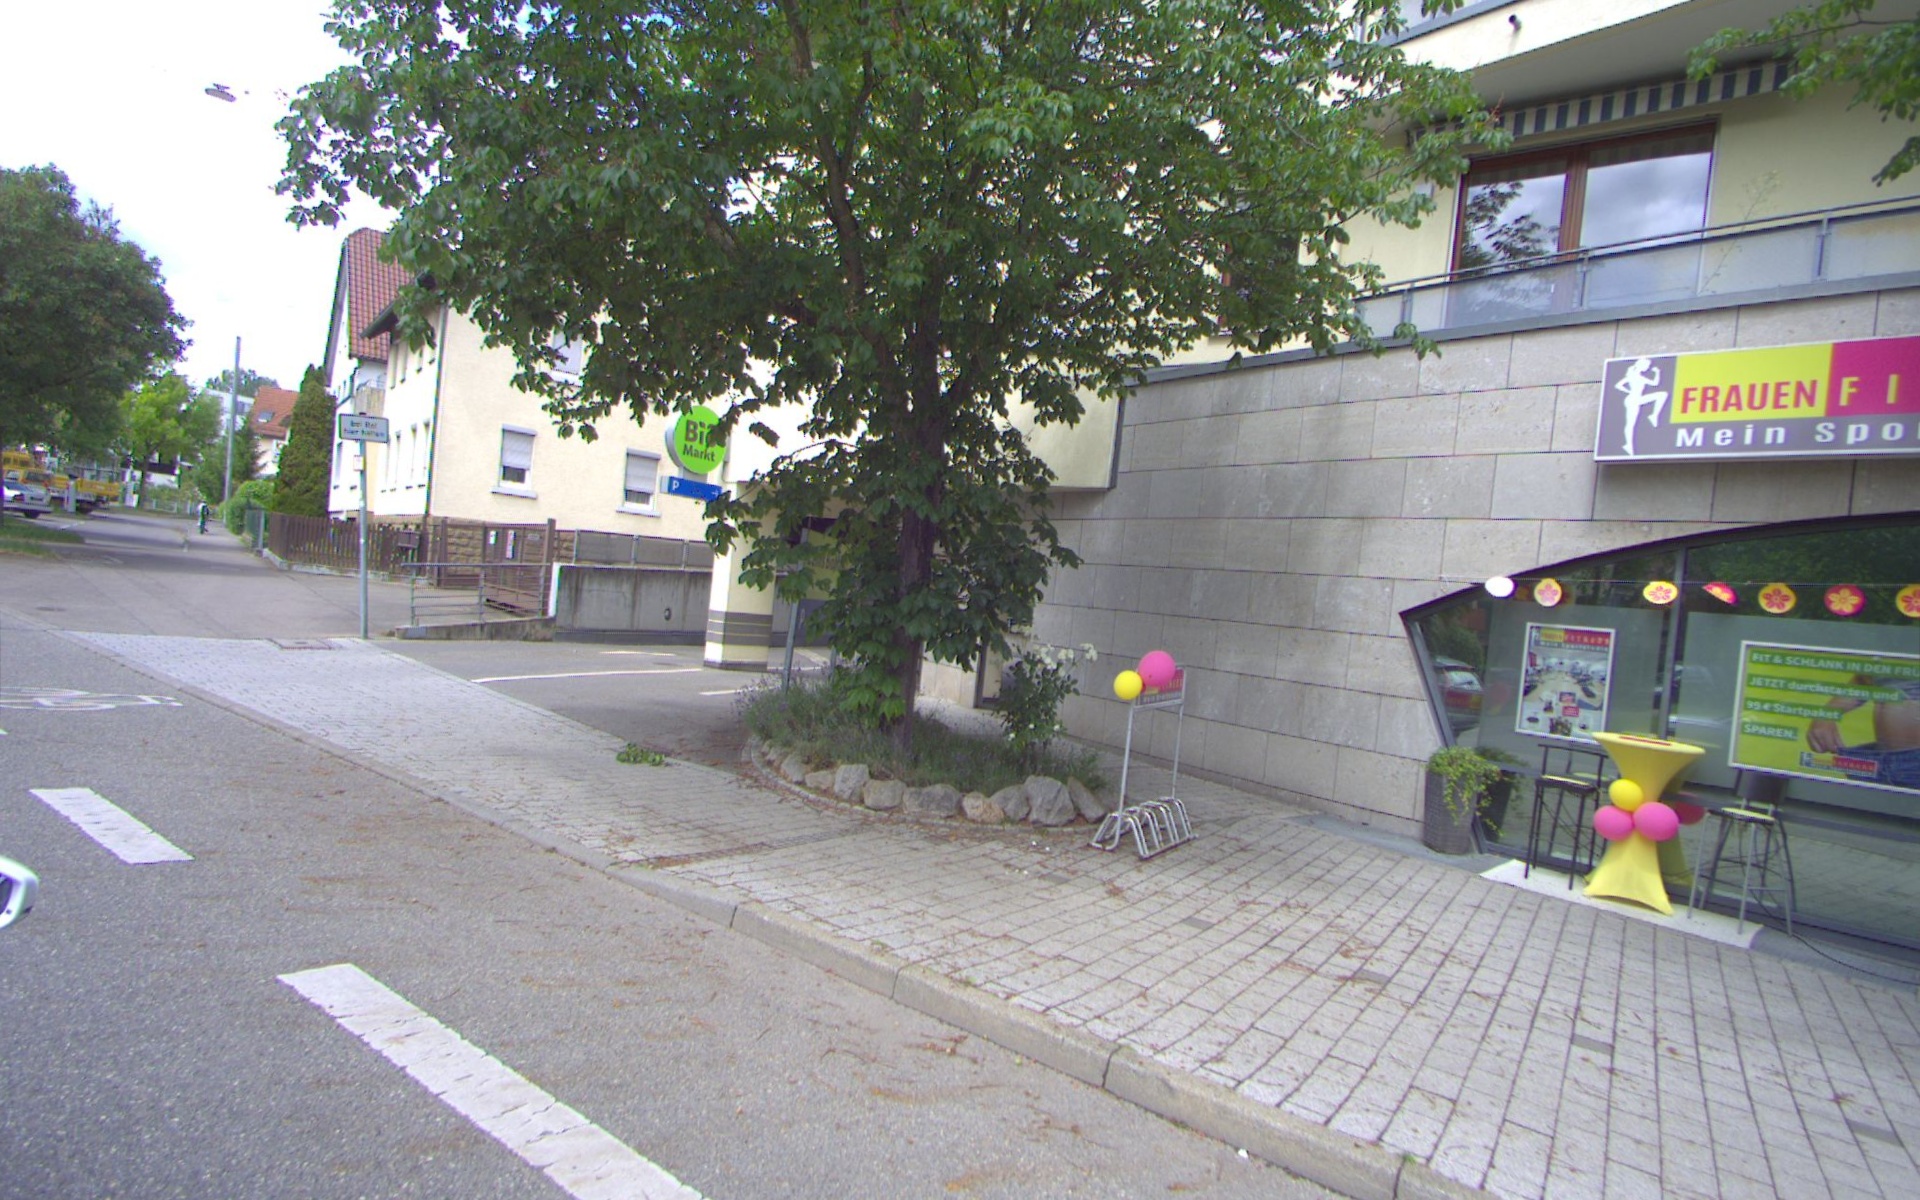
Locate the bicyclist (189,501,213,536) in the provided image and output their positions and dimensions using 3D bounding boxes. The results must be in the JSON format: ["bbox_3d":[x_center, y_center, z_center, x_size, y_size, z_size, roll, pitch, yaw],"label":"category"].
[{"bbox_3d":[-36.996,-3.981,49.030,0.557,1.577,0.590,6,-1,31],"label":"bicyclist"}]

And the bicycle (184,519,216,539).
[{"bbox_3d":[-37.001,-3.459,48.992,1.725,0.821,0.595,7,-1,32],"label":"bicycle"}]

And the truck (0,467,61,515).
[{"bbox_3d":[-49.870,-5.853,51.668,5.571,2.037,2.002,7,-2,4],"label":"truck"}]

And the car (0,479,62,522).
[{"bbox_3d":[-39.684,-4.273,40.904,4.603,1.469,1.768,8,0,0],"label":"car"}]
